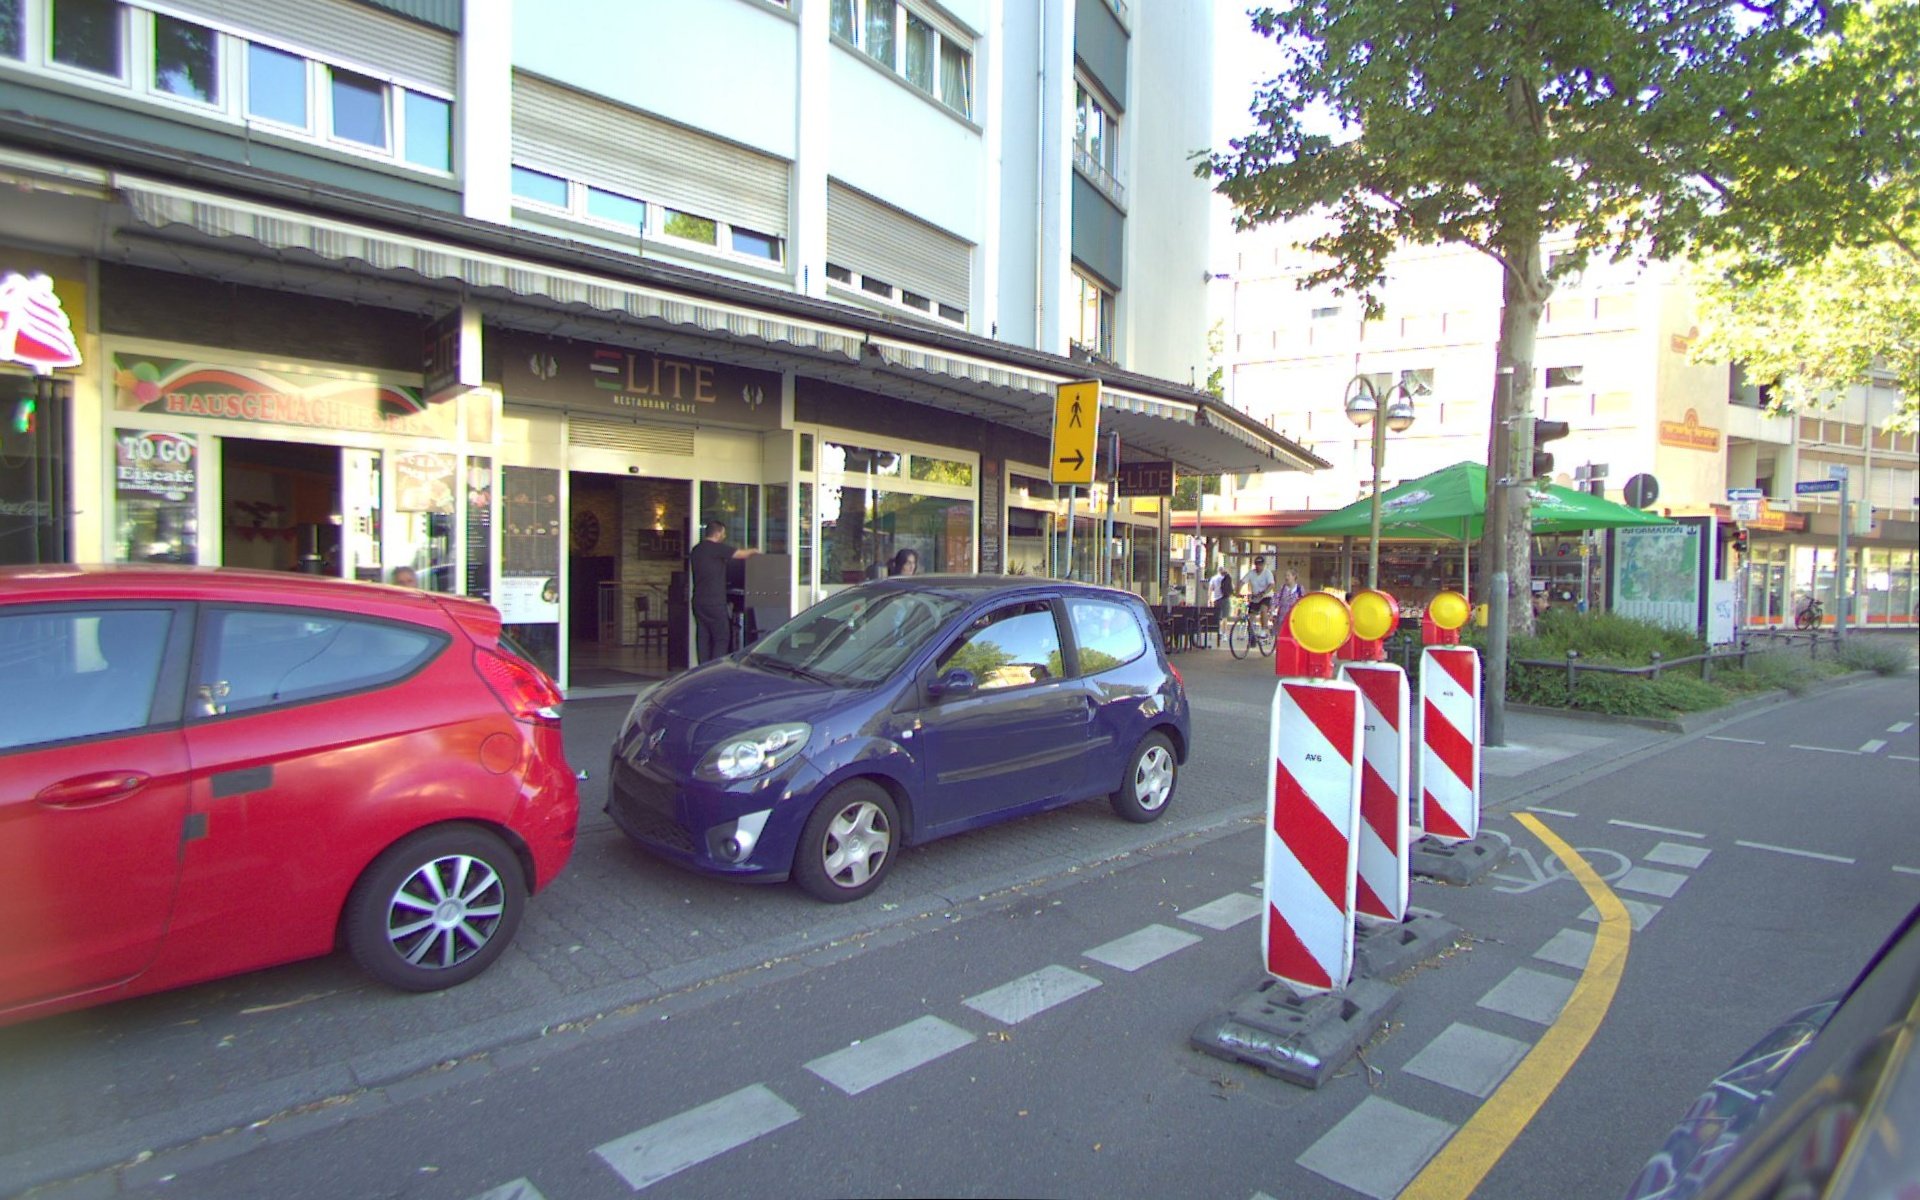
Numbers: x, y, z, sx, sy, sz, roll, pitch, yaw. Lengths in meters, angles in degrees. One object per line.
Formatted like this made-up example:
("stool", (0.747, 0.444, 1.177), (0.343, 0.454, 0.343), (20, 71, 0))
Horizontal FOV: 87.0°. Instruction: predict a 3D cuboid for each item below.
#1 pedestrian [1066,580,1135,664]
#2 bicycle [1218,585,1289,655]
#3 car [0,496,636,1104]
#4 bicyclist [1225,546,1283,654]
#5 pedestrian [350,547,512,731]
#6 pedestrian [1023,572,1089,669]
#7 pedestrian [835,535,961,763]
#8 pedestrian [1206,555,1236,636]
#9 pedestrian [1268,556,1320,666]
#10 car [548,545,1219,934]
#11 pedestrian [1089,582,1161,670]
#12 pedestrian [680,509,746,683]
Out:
("pedestrian", (2.119, 0.311, 15.252), (0.776, 1.207, 0.648), (0, 1, -34))
("bicycle", (5.214, 0.346, 17.909), (0.746, 1.144, 1.866), (3, 1, 30))
("car", (-3.230, 0.477, 3.244), (3.761, 1.614, 1.784), (-1, 5, -45))
("bicyclist", (5.198, -0.013, 17.871), (0.748, 1.849, 0.915), (2, 1, 31))
("pedestrian", (-4.276, 0.266, 8.161), (0.937, 1.352, 1.069), (0, 2, -41))
("pedestrian", (1.342, 0.273, 14.275), (0.685, 1.323, 0.793), (1, 1, -13))
("pedestrian", (-0.479, 0.346, 7.877), (0.783, 1.667, 0.583), (-1, 2, -42))
("pedestrian", (6.585, -0.122, 25.523), (0.640, 1.983, 0.884), (1, 1, 19))
("pedestrian", (5.172, 0.155, 15.673), (0.624, 1.657, 0.525), (2, 1, 34))
("car", (-0.269, 0.509, 5.901), (3.551, 1.485, 1.769), (-1, 5, -44))
("pedestrian", (2.354, 0.354, 14.511), (0.685, 1.207, 0.881), (0, 1, -18))
("pedestrian", (-2.636, -0.057, 10.809), (0.547, 1.800, 0.395), (-1, 4, -43))
